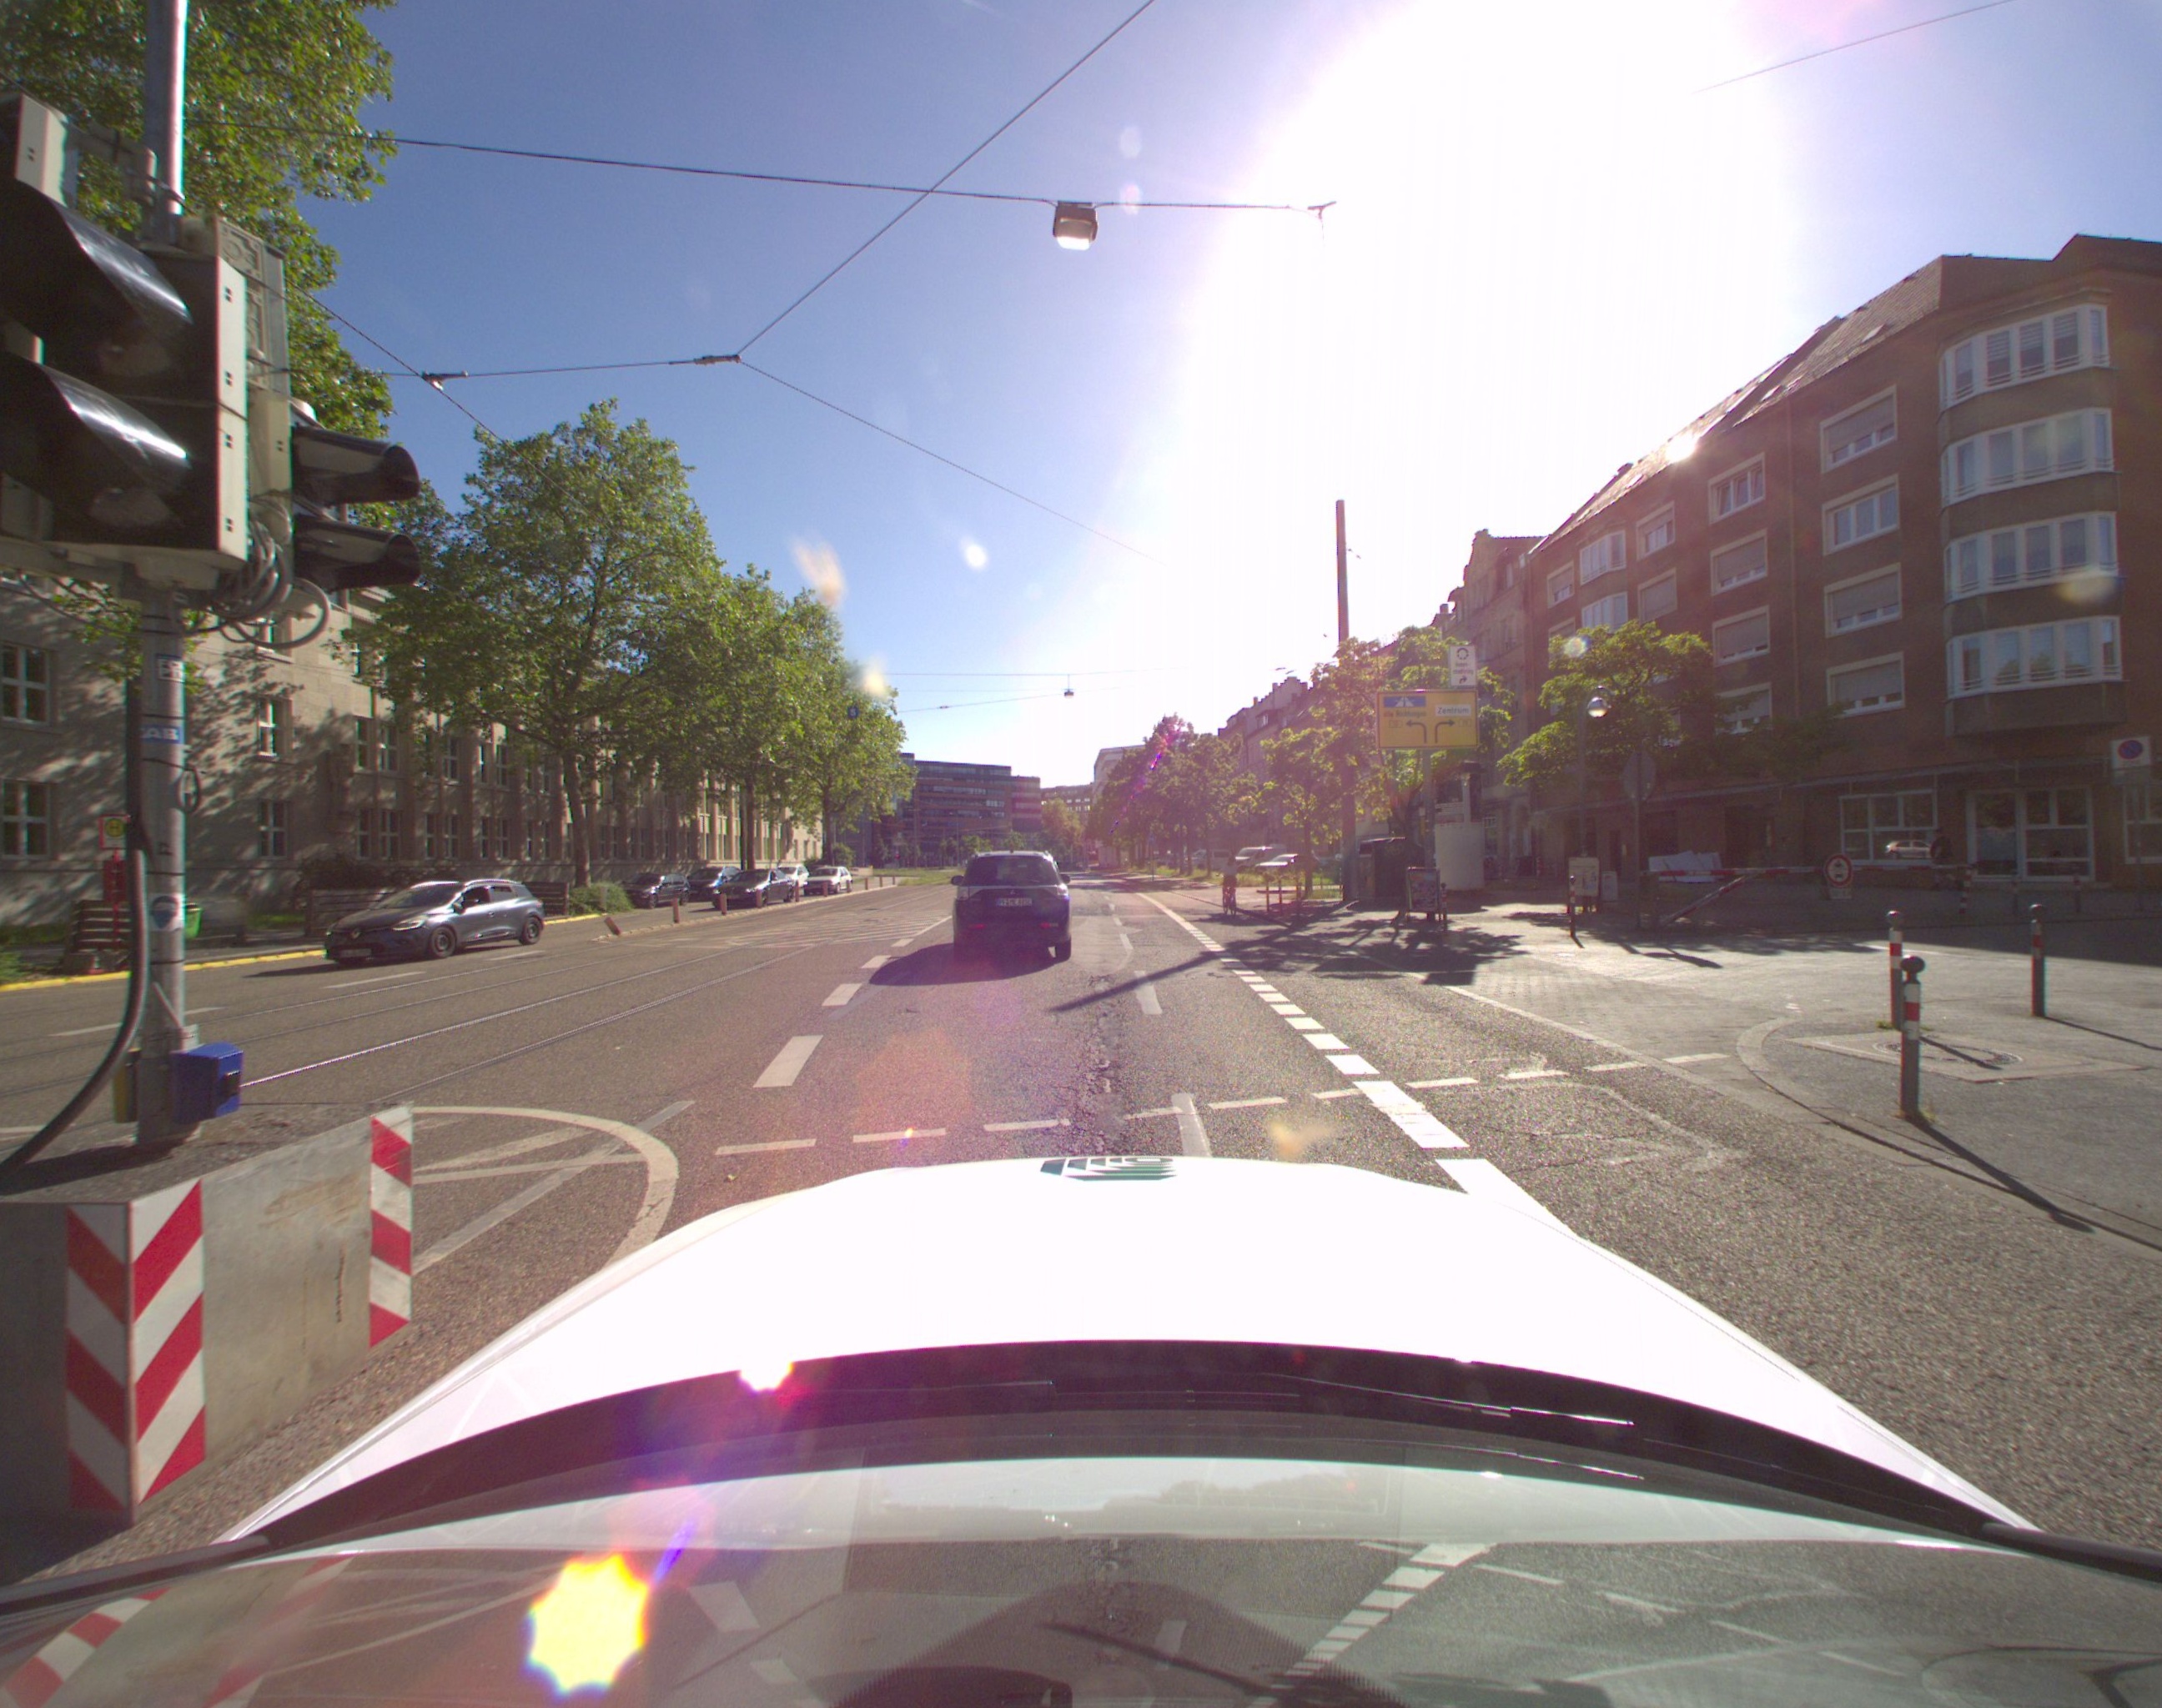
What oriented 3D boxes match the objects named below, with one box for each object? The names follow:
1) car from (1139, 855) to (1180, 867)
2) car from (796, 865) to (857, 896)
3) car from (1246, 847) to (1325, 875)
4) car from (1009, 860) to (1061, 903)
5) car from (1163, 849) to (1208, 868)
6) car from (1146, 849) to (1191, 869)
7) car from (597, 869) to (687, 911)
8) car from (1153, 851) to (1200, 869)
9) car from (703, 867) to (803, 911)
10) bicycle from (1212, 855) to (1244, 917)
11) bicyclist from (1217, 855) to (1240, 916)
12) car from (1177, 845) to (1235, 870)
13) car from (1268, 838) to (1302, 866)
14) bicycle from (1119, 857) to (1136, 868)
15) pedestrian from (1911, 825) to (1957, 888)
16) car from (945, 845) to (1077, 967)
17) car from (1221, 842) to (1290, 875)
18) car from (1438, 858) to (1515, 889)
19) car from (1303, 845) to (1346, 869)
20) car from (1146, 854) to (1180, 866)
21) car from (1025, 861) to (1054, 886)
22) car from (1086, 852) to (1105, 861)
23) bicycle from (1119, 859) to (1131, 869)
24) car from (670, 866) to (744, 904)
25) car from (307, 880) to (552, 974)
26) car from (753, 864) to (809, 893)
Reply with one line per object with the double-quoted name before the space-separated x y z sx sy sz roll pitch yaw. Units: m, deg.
"car" 9.660 0.866 99.888 4.774 1.380 2.023 -1 0 -36
"car" -13.234 1.347 42.649 1.824 1.453 4.170 -2 0 0
"car" 12.590 0.413 50.057 4.902 1.435 1.999 -3 0 -36
"car" -1.657 1.007 29.730 1.730 1.423 4.461 1 -2 -3
"car" 11.207 0.487 87.460 4.529 1.727 1.980 -3 0 -32
"car" 10.044 0.563 93.382 4.903 2.013 2.077 -3 -1 -37
"car" -18.083 1.445 33.765 1.669 1.547 4.182 -1 0 -5
"car" 10.703 0.671 90.987 4.898 1.648 2.079 -3 0 -32
"car" -12.874 1.316 32.329 1.823 1.453 4.962 -2 0 1
"bicycle" 4.057 0.857 22.575 0.436 1.639 1.937 -2 0 -2
"bicyclist" 4.061 0.859 22.408 0.436 1.639 0.778 -2 0 -2
"car" 11.580 0.314 75.328 5.206 2.013 2.079 -3 0 -32
"car" 20.049 -0.228 80.271 1.988 2.585 4.511 -3 0 -1
"bicycle" 5.964 1.150 105.082 2.092 1.365 0.785 -1 -1 -8
"pedestrian" 24.444 0.063 23.343 0.589 1.760 0.641 -1 -1 -2
"car" -1.120 0.759 13.723 1.832 1.682 4.636 -1 -1 -4
"car" 12.315 0.312 57.421 4.904 2.075 1.998 -3 0 -37
"car" 21.076 1.017 43.656 1.987 1.474 4.490 -2 0 1
"car" 20.500 0.228 68.706 1.989 1.799 4.622 -3 0 -3
"car" 11.382 0.874 112.486 4.488 1.565 1.917 -1 0 -34
"car" -2.475 1.190 48.664 1.628 1.423 3.777 1 -2 -3
"car" 3.340 0.631 185.074 3.959 2.014 2.007 -2 -1 13
"bicycle" 5.588 1.269 103.155 0.760 1.290 1.608 -3 0 37
"car" -17.974 1.429 39.375 1.827 1.639 4.388 -2 0 -5
"car" -12.558 1.326 16.086 1.612 1.412 4.084 -3 0 -3
"car" -18.411 1.484 50.135 1.824 1.587 4.393 -2 0 -1
